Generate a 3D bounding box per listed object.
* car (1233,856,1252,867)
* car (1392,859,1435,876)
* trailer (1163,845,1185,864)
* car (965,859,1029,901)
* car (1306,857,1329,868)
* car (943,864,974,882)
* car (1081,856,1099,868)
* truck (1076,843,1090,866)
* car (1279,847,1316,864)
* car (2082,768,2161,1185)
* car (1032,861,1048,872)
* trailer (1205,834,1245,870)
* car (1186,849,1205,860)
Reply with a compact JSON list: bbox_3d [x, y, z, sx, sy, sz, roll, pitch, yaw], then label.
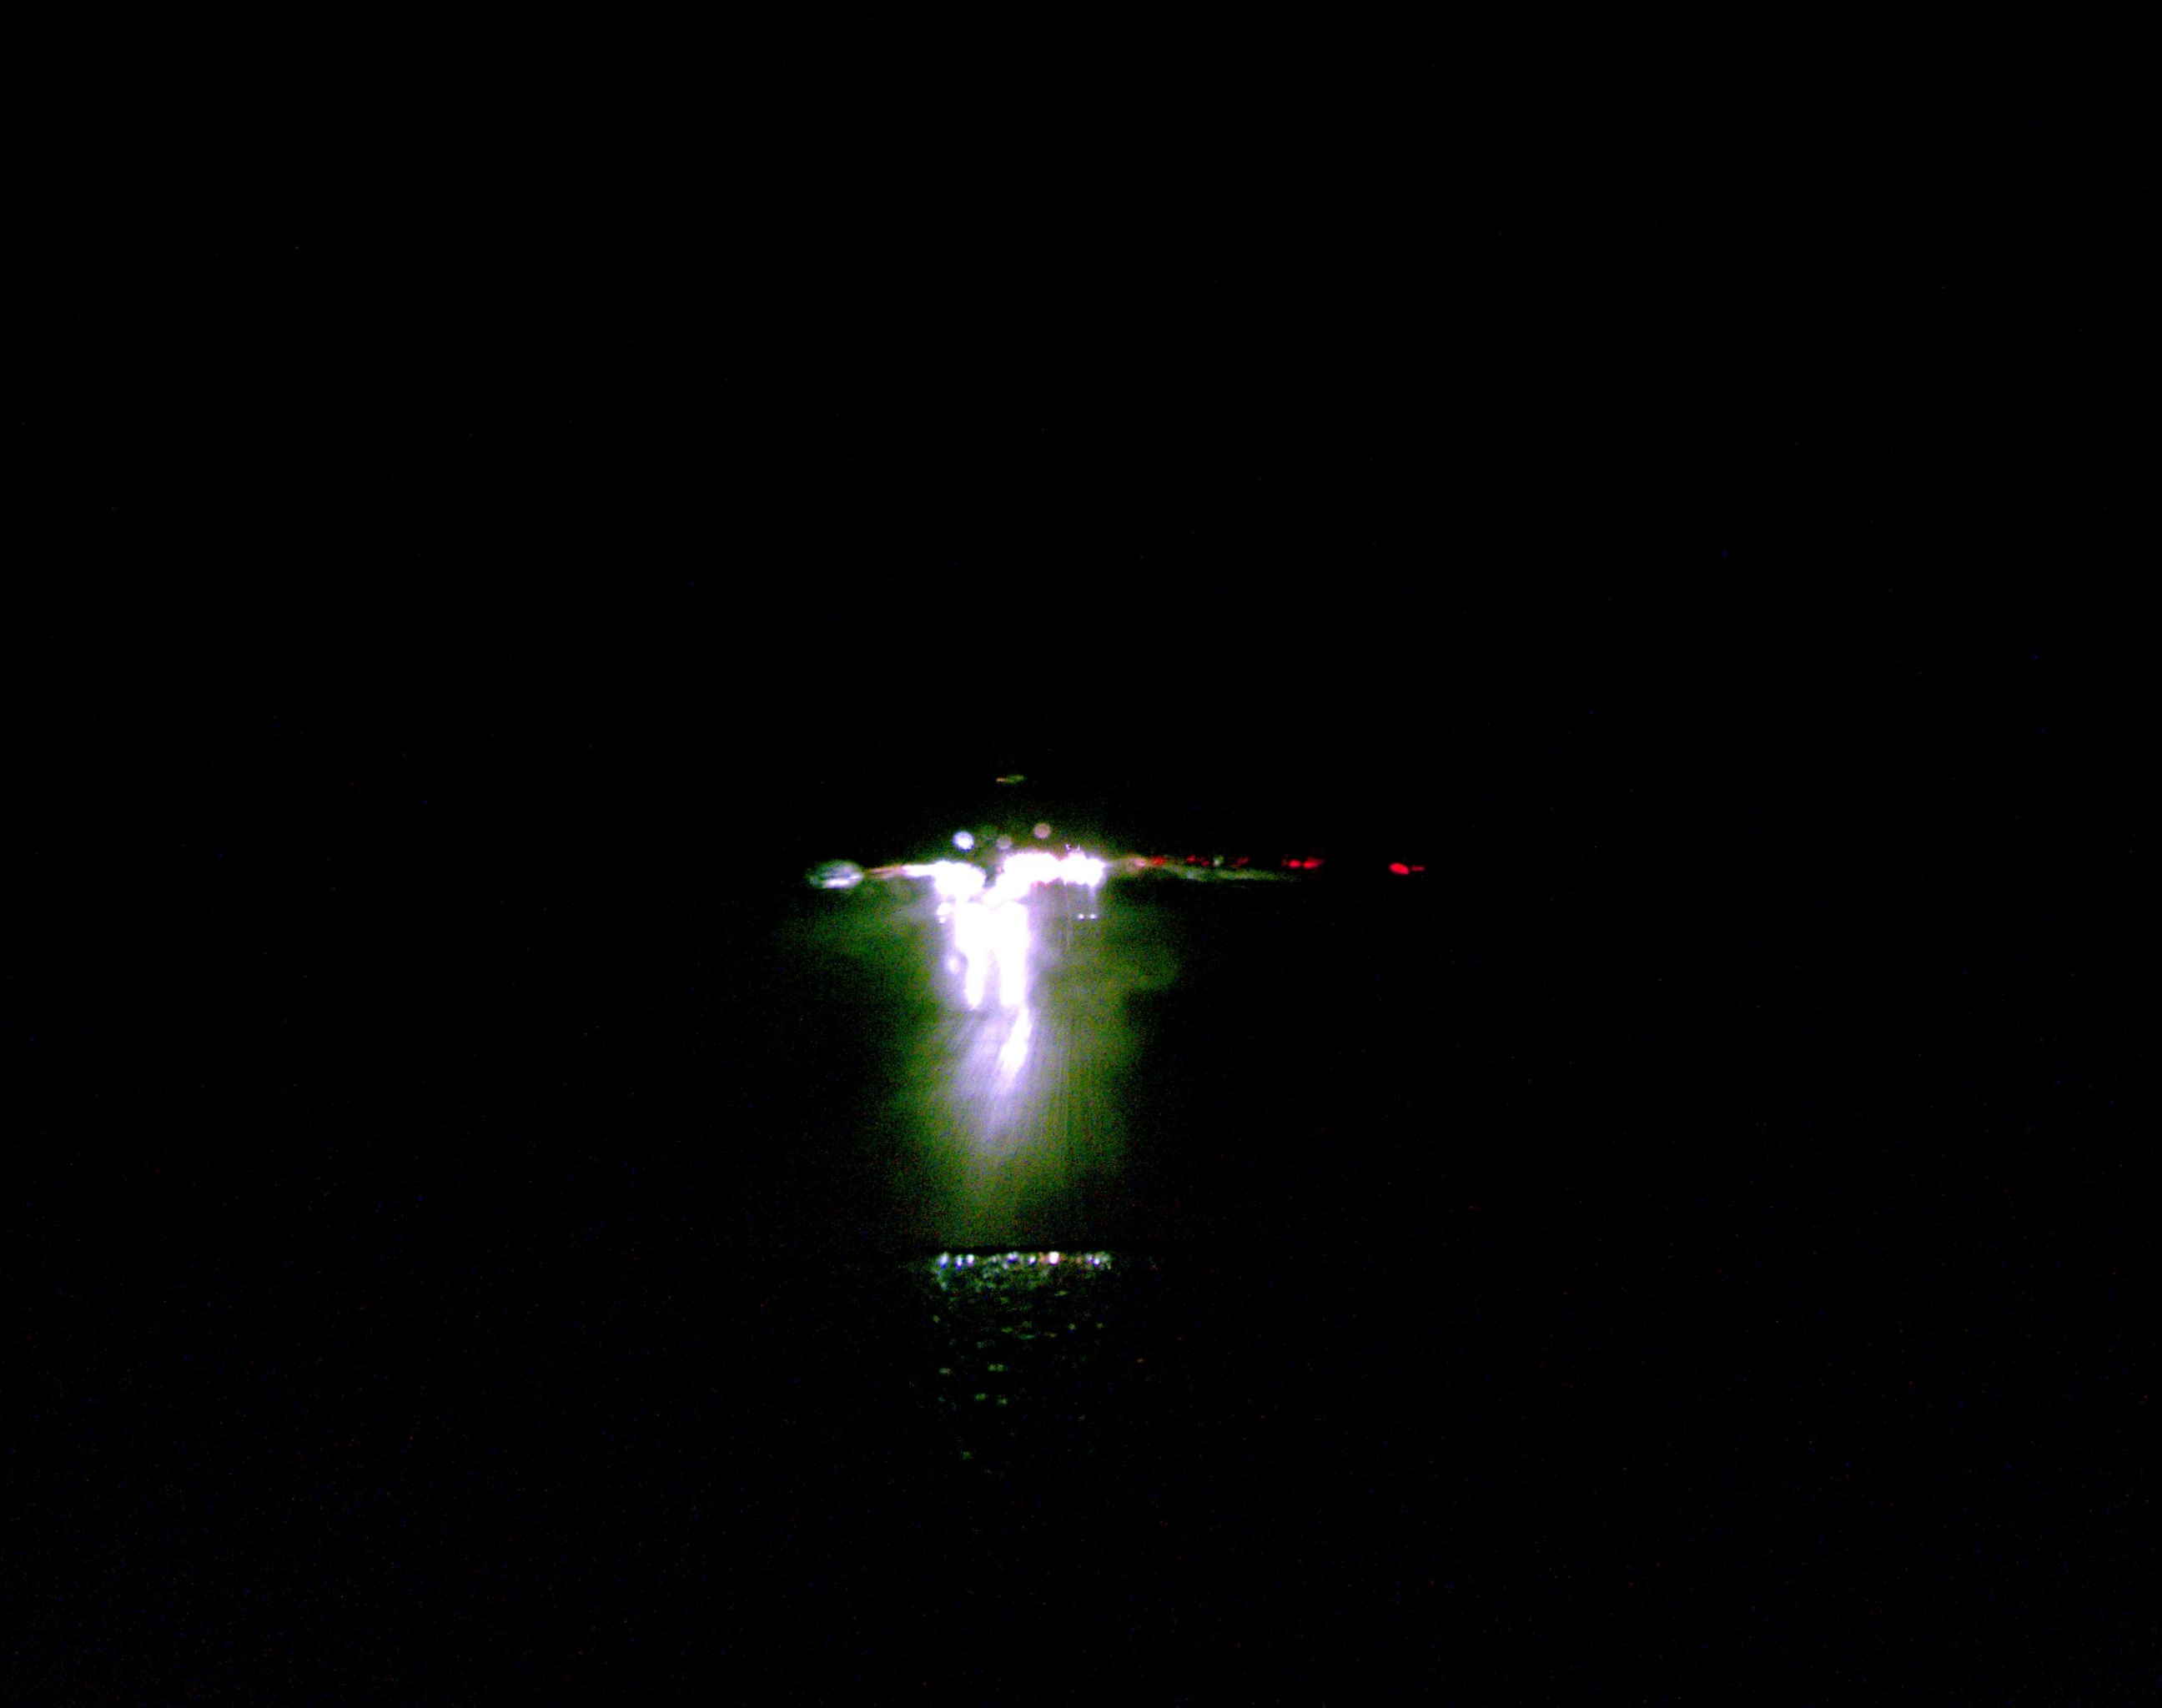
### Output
[{"bbox_3d":[25.839,1.190,121.554,1.999,1.590,4.592,1,1,-1],"label":"car"},{"bbox_3d":[27.470,1.094,62.939,1.656,1.336,3.999,-1,0,-3],"label":"car"},{"bbox_3d":[19.295,-0.001,157.866,2.703,3.727,12.017,1,1,-2],"label":"trailer"},{"bbox_3d":[-3.377,1.007,31.467,2.063,1.510,5.015,-2,0,-1],"label":"car"},{"bbox_3d":[31.882,1.091,102.550,1.563,1.369,4.593,1,1,0],"label":"car"},{"bbox_3d":[-10.975,1.712,68.251,1.723,1.488,4.046,-2,-1,5],"label":"car"},{"bbox_3d":[0.967,0.910,84.250,1.712,1.286,3.991,1,-2,-2],"label":"car"},{"bbox_3d":[0.319,0.034,145.630,2.504,4.223,5.980,1,1,-1],"label":"truck"},{"bbox_3d":[17.532,0.124,61.606,1.656,1.336,3.999,-1,0,-3],"label":"car"},{"bbox_3d":[5.919,0.568,0.900,2.142,1.873,5.554,-1,1,0],"label":"car"},{"bbox_3d":[-5.084,1.515,93.766,1.712,1.286,3.990,1,-2,-7],"label":"car"},{"bbox_3d":[21.112,-0.353,112.296,2.930,4.821,14.577,1,1,0],"label":"trailer"},{"bbox_3d":[16.425,0.048,109.472,1.999,1.590,4.592,1,1,-1],"label":"car"}]
